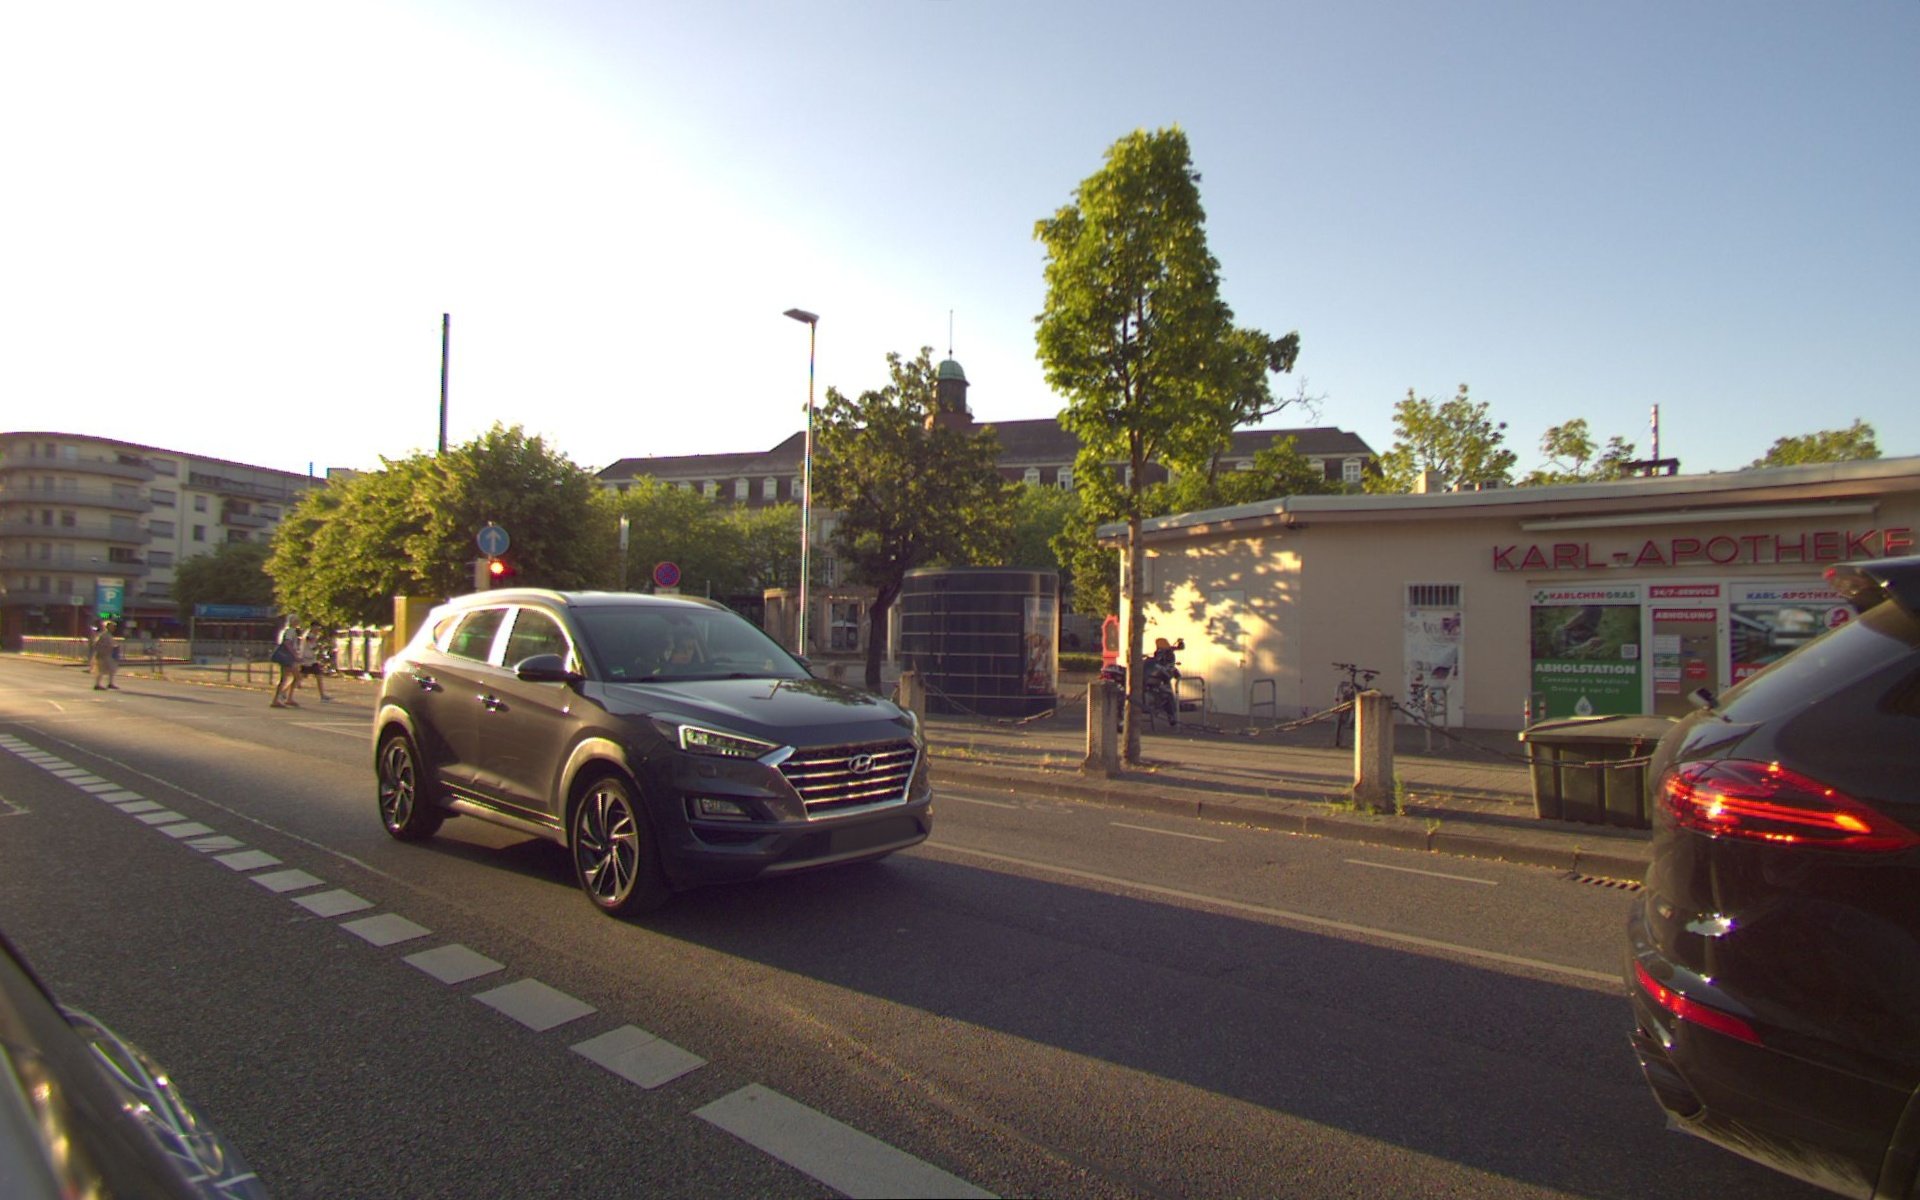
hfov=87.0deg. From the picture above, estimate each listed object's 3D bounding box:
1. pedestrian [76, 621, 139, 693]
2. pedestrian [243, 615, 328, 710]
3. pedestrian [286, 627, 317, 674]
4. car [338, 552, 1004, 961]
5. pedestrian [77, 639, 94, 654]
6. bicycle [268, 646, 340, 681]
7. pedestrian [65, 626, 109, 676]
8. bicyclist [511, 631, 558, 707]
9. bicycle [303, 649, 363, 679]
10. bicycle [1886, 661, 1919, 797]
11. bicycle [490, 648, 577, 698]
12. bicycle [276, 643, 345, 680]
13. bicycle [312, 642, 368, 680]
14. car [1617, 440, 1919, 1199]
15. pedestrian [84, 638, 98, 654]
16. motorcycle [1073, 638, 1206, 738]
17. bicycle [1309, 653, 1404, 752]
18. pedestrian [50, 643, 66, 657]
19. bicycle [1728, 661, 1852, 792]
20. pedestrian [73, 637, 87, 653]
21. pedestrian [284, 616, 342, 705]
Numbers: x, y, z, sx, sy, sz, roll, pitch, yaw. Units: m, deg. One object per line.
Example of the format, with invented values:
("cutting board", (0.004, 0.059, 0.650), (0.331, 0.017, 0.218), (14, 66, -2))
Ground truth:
("pedestrian", (-20.381, 1.363, 24.214), (0.779, 1.666, 0.781), (1, -3, -7))
("pedestrian", (-13.131, 1.212, 19.729), (0.824, 1.788, 1.088), (-1, -4, 34))
("pedestrian", (-26.000, 1.991, 39.952), (0.858, 1.831, 0.827), (3, -4, -40))
("car", (-2.044, 0.759, 6.389), (4.446, 1.702, 1.853), (-2, -5, 40))
("pedestrian", (-74.887, 3.972, 86.663), (0.814, 1.332, 0.684), (-1, -3, 16))
("bicycle", (-22.517, 2.154, 34.766), (0.548, 1.143, 2.007), (-2, -2, 36))
("pedestrian", (-32.395, 1.901, 37.558), (0.936, 1.831, 0.828), (2, -3, -22))
("bicyclist", (-10.504, 1.687, 25.008), (0.823, 1.840, 0.832), (1, -3, -6))
("bicycle", (-21.499, 2.183, 34.737), (0.548, 0.986, 1.658), (-2, -2, 36))
("bicycle", (9.940, 1.254, 10.218), (0.787, 1.266, 2.418), (-2, -4, 41))
("bicycle", (-10.517, 1.801, 25.017), (1.796, 1.195, 0.795), (1, -3, -8))
("bicycle", (-23.315, 2.190, 36.353), (0.548, 1.262, 2.007), (-2, -2, 36))
("bicycle", (-21.142, 2.071, 34.547), (0.444, 1.262, 1.571), (-2, -2, 38))
("car", (3.714, 0.576, 1.341), (4.557, 1.727, 1.929), (-2, -4, 40))
("pedestrian", (-74.502, 3.965, 86.763), (0.887, 1.332, 0.723), (-2, -3, 38))
("motorcycle", (2.862, 1.340, 15.861), (0.868, 1.440, 2.554), (-2, -4, 41))
("bicycle", (5.519, 1.383, 14.033), (0.632, 1.266, 1.834), (-2, -4, 41))
("pedestrian", (-74.836, 4.140, 83.969), (0.875, 1.201, 0.734), (2, -4, -40))
("bicycle", (9.088, 1.314, 11.062), (0.949, 1.266, 1.984), (-2, -4, 41))
("pedestrian", (-75.006, 3.849, 86.227), (0.888, 1.332, 0.723), (-2, -3, 39))
("pedestrian", (-14.229, 1.327, 22.257), (0.925, 1.912, 0.828), (3, -4, -37))
